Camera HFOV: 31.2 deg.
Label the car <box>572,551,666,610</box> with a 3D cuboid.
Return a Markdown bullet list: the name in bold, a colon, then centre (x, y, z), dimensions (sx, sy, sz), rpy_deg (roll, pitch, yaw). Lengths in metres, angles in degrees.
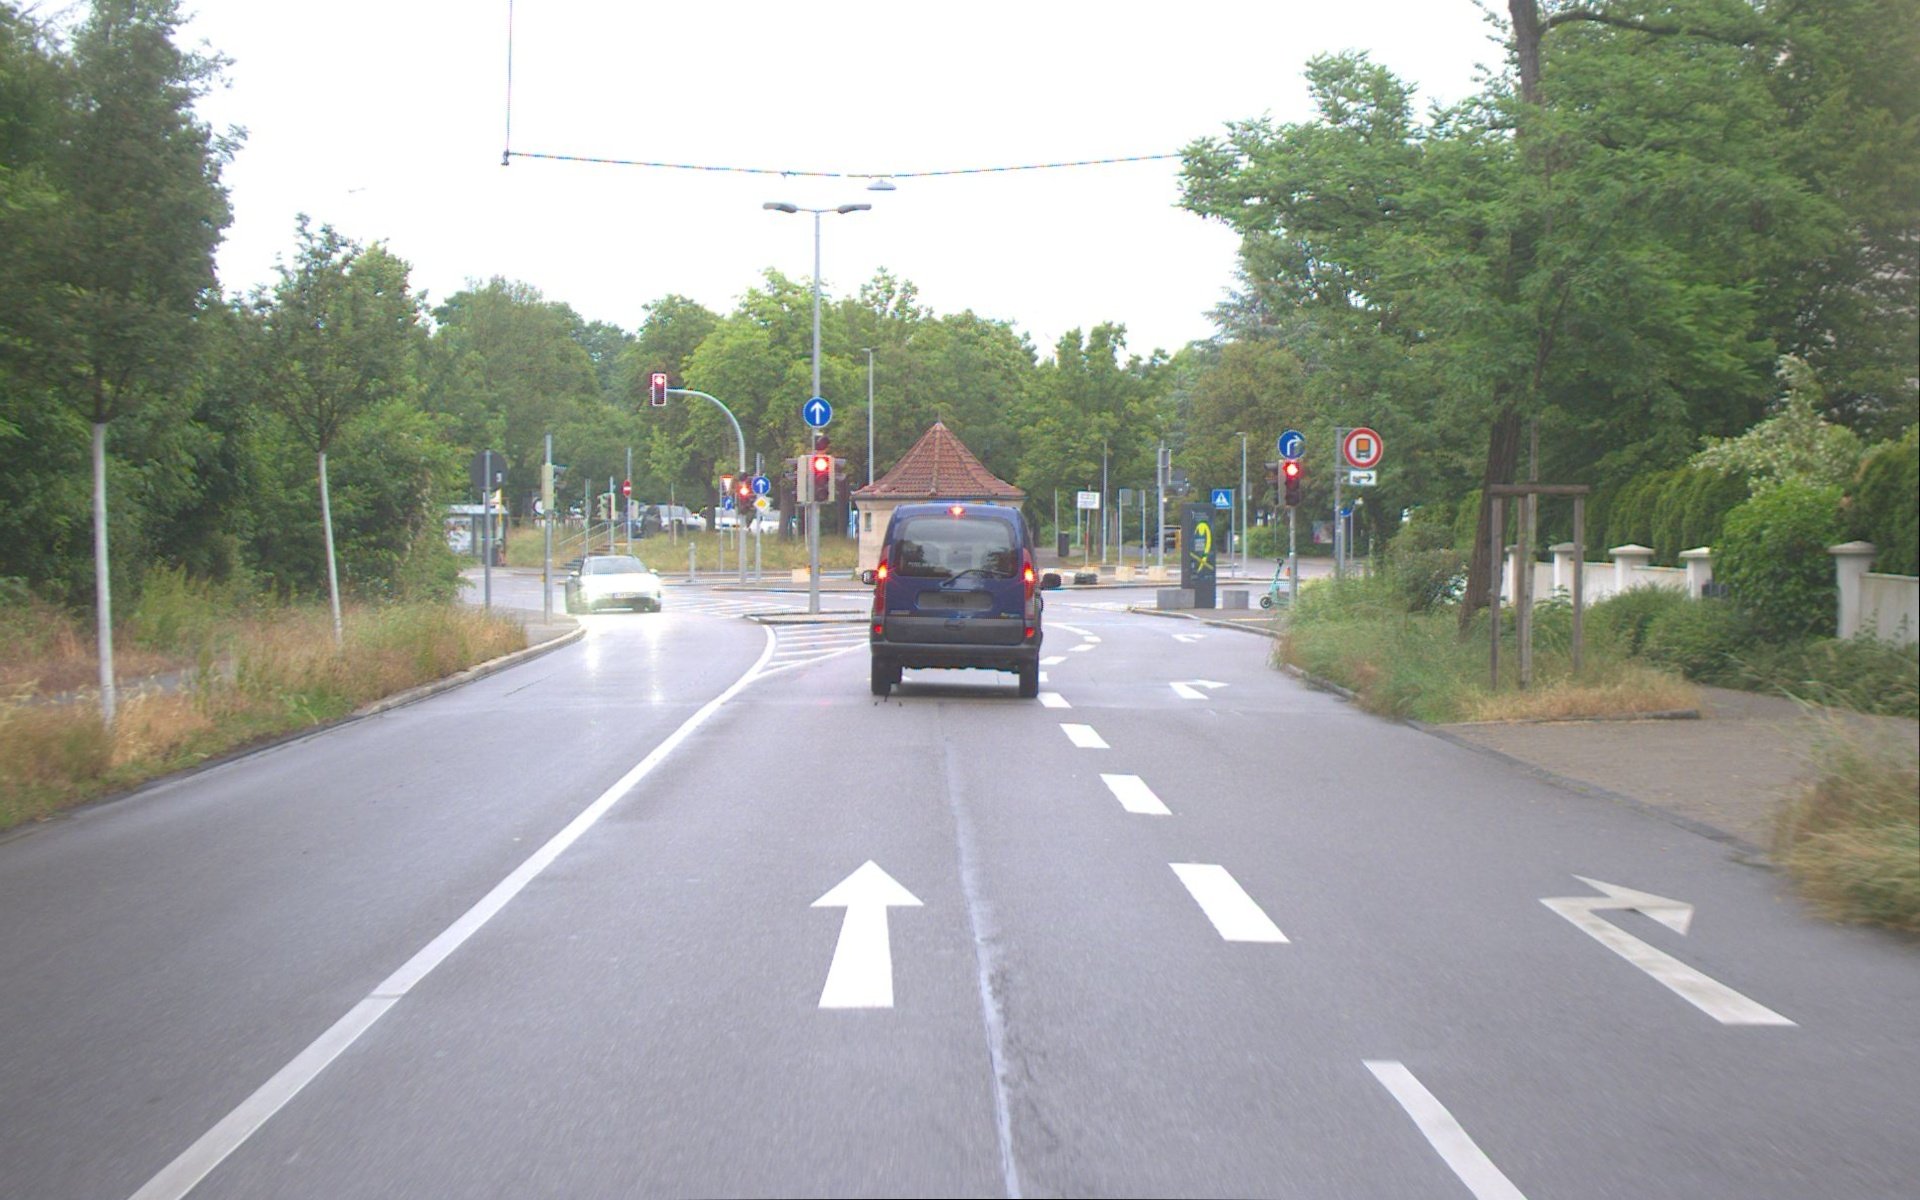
- **car**: centre (-8.372, -0.489, 84.151), dimensions (1.993, 1.307, 4.361), rpy_deg (-2, 1, -9)

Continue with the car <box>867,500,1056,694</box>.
- **car**: centre (-0.019, -0.062, 34.004), dimensions (1.731, 1.780, 4.000), rpy_deg (1, 1, -1)

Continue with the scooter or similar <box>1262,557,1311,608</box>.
- **scooter or similar**: centre (7.864, -0.425, 82.870), dimensions (1.149, 1.215, 0.406), rpy_deg (0, 0, 1)

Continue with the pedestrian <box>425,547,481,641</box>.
- **pedestrian**: centre (-11.018, -0.137, 74.686), dimensions (1.088, 2.007, 1.000), rpy_deg (1, 0, -4)
